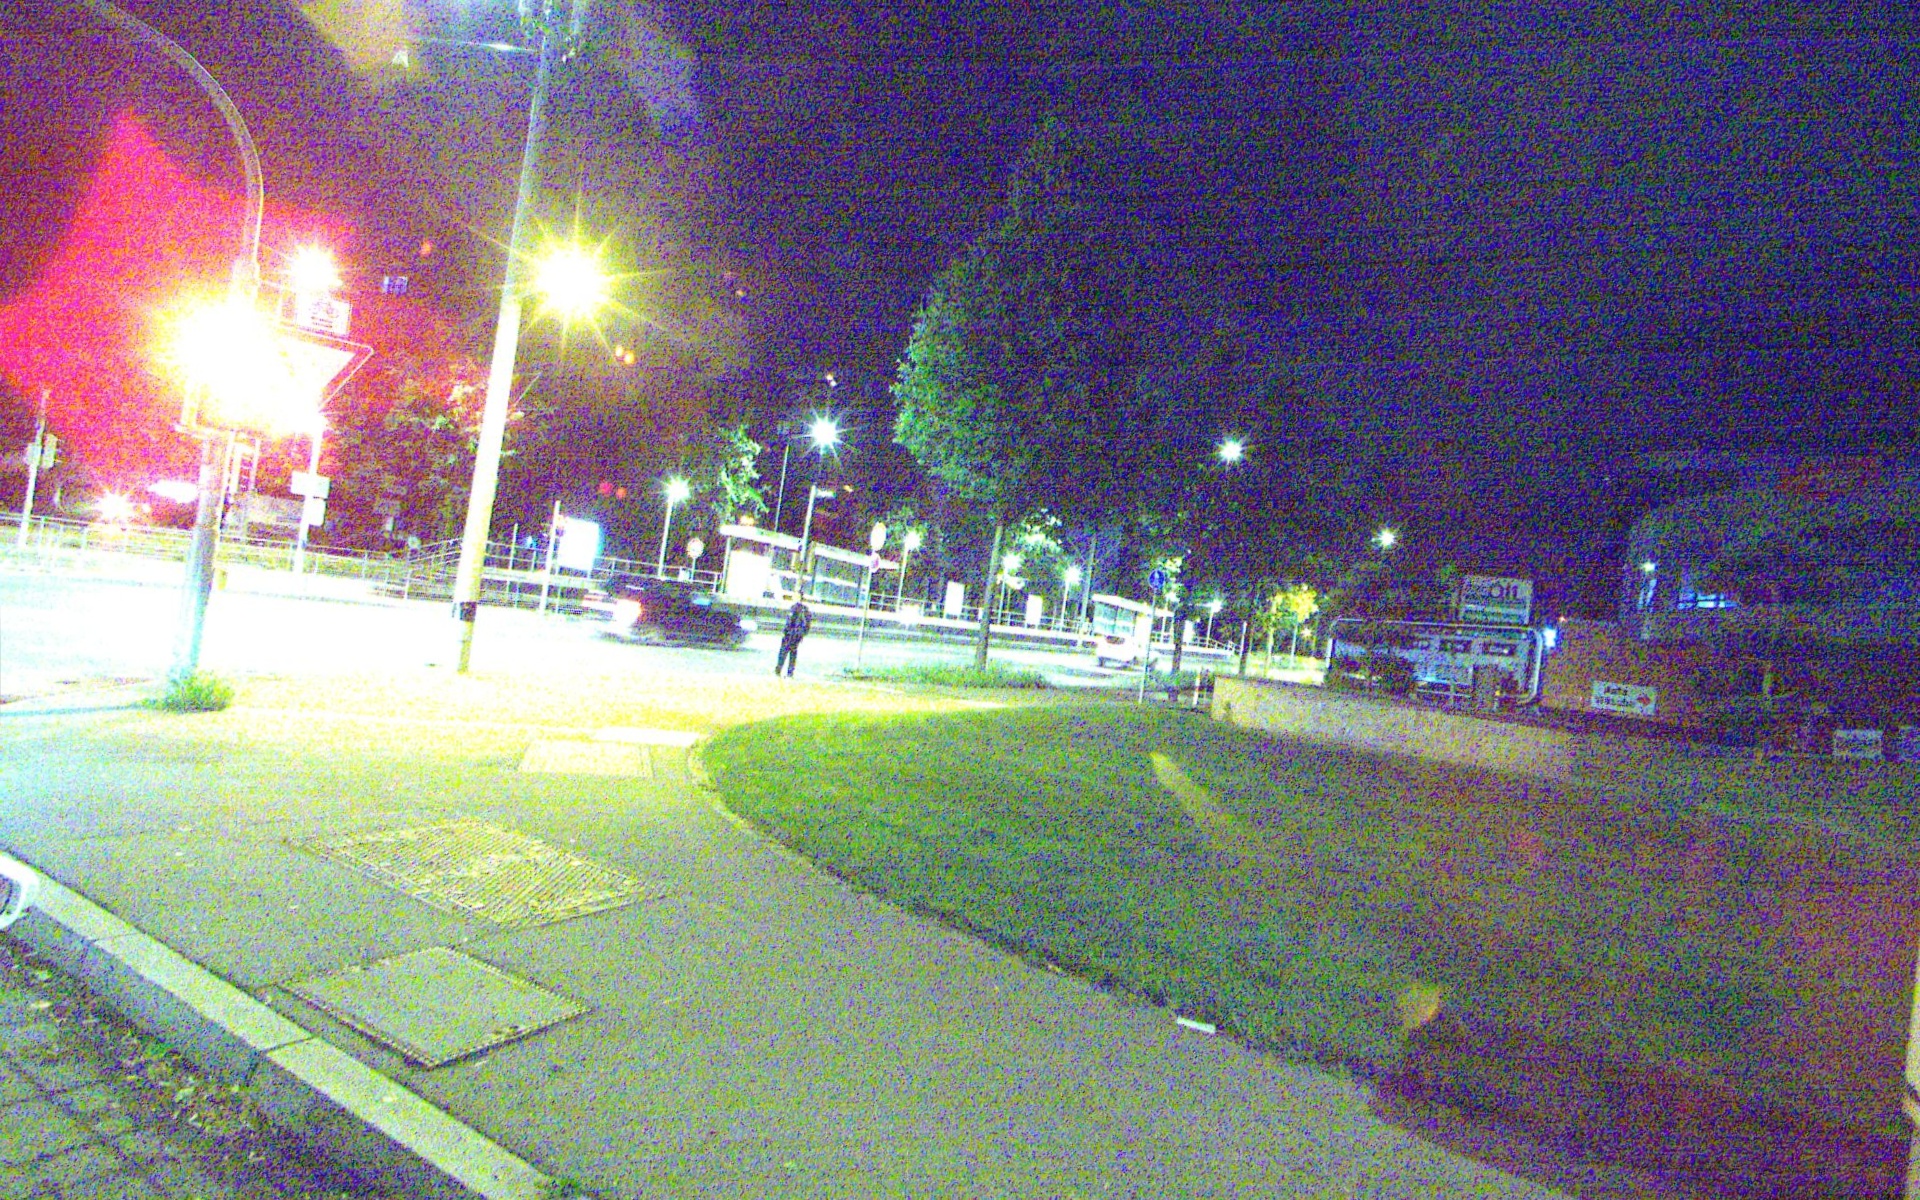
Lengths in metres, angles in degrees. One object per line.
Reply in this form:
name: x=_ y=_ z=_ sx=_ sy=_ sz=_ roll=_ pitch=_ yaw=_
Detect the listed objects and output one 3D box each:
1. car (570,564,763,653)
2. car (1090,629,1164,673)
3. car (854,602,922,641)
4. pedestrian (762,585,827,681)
car: x=-7.220 y=0.272 z=25.143 sx=1.781 sy=1.671 sz=4.346 roll=8 pitch=0 yaw=34
car: x=8.125 y=2.483 z=48.726 sx=1.844 sy=1.703 sz=4.288 roll=9 pitch=0 yaw=32
car: x=-4.385 y=1.339 z=61.876 sx=1.970 sy=2.039 sz=3.985 roll=6 pitch=0 yaw=36
pedestrian: x=-3.217 y=0.635 z=19.541 sx=0.820 sy=1.767 sz=0.755 roll=5 pitch=1 yaw=31
